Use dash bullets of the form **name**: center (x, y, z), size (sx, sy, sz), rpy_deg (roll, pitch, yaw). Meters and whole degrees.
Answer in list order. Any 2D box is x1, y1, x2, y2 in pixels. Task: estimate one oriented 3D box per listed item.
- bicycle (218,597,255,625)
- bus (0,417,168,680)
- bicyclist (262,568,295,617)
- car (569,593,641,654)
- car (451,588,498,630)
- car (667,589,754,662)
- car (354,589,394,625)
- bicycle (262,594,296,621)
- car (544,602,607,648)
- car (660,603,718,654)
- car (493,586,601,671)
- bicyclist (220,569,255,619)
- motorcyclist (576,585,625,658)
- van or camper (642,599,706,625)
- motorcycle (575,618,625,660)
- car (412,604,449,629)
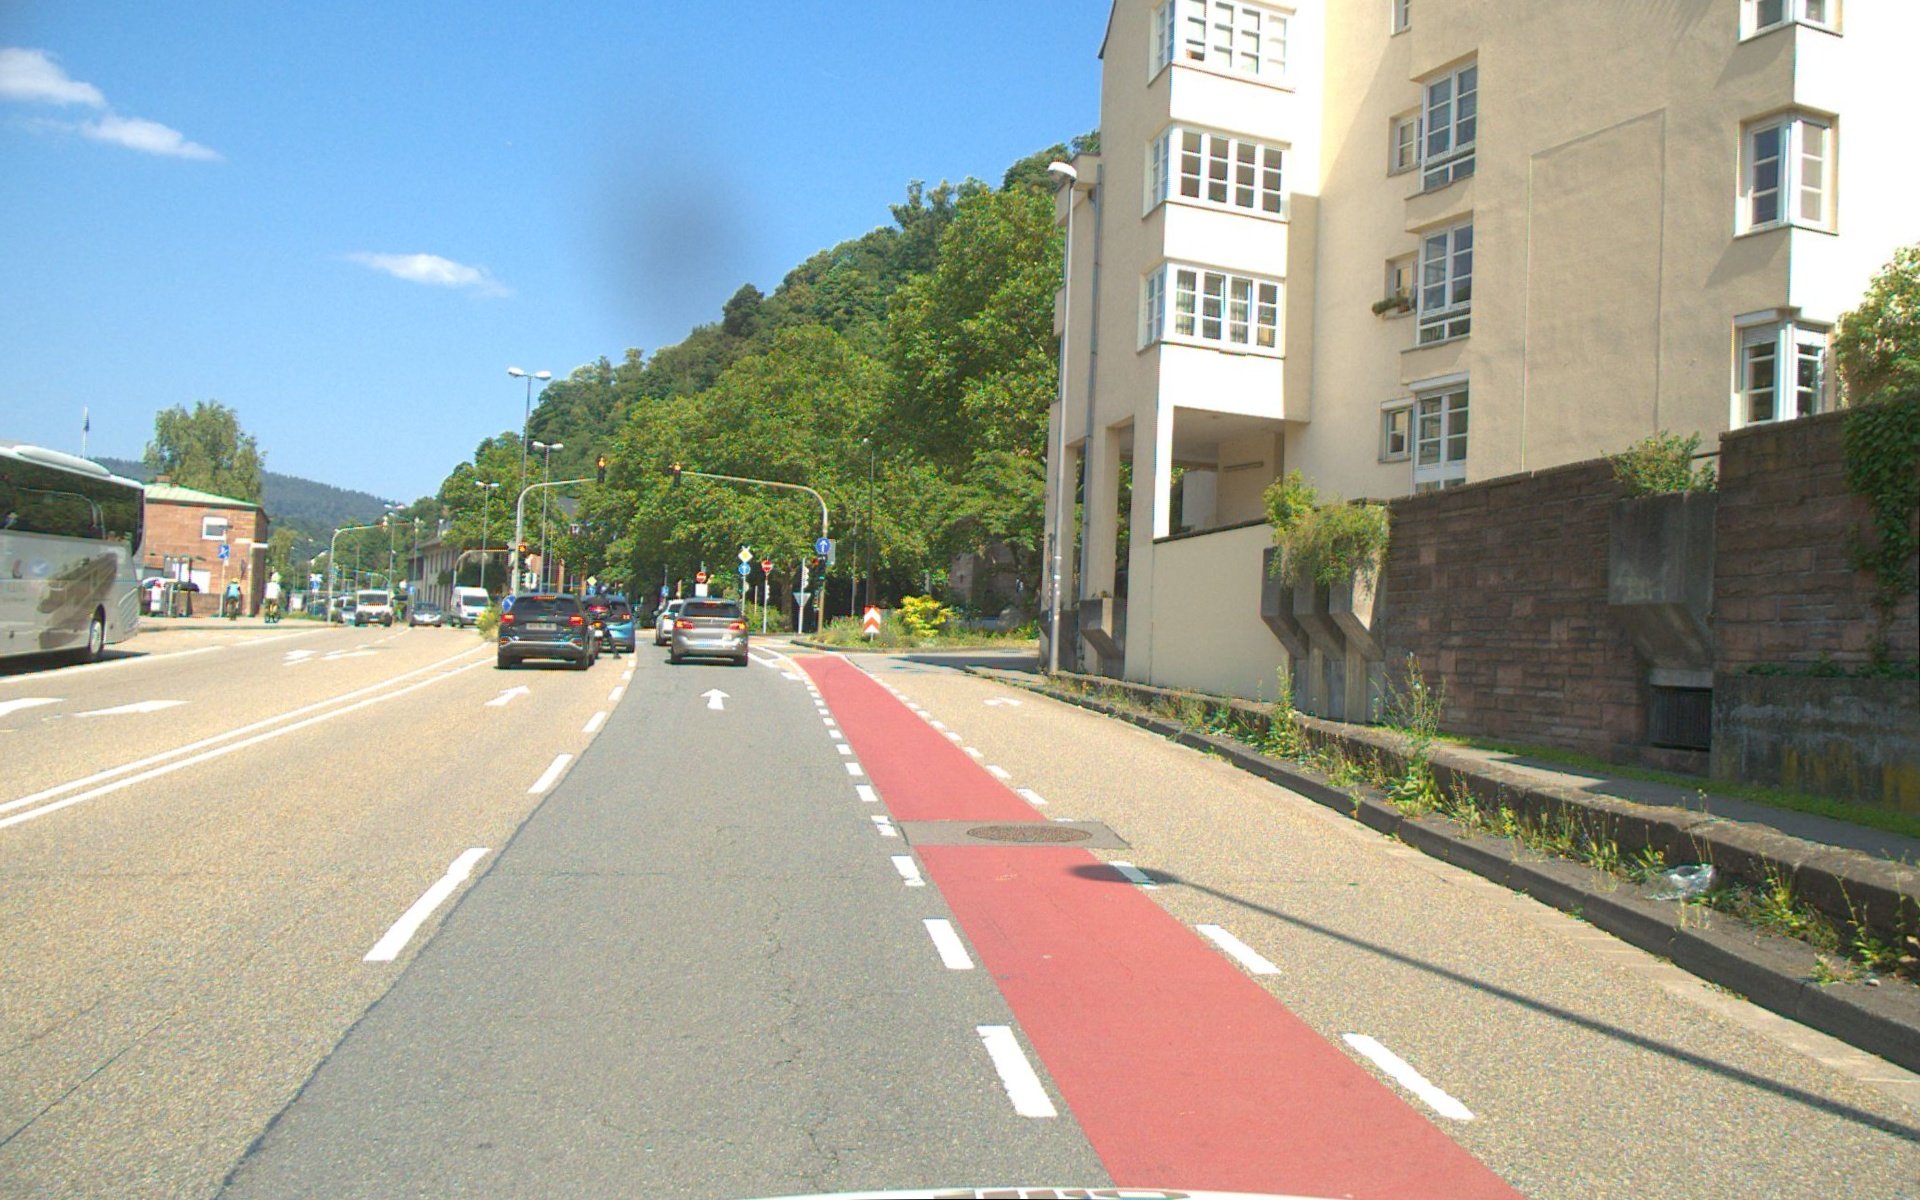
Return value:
- **bicycle**: center (-30.289, 0.444, 69.271), size (1.194, 1.109, 2.583), rpy_deg (1, 0, -20)
- **bus**: center (-16.425, -0.878, 27.487), size (2.907, 3.866, 13.195), rpy_deg (5, -1, -14)
- **bicyclist**: center (-29.200, -0.338, 70.894), size (1.194, 2.049, 1.112), rpy_deg (1, 0, -20)
- **car**: center (-9.943, 0.625, 46.494), size (1.833, 1.589, 3.989), rpy_deg (2, 0, -11)
- **car**: center (-31.766, 0.598, 108.119), size (2.350, 2.621, 6.014), rpy_deg (1, -1, -22)
- **car**: center (-5.946, 0.596, 39.437), size (1.853, 1.547, 4.296), rpy_deg (3, -1, -9)
- **car**: center (-36.475, 0.409, 103.035), size (2.181, 2.115, 5.016), rpy_deg (1, 0, -19)
- **bicycle**: center (-29.160, 0.308, 70.850), size (1.194, 1.109, 2.583), rpy_deg (1, 0, -20)
- **car**: center (-12.438, 0.783, 53.696), size (1.833, 1.382, 3.989), rpy_deg (2, 0, -11)
- **car**: center (-8.924, 0.923, 54.311), size (1.753, 1.559, 4.725), rpy_deg (1, -1, -10)
- **car**: center (-8.451, 0.569, 34.138), size (1.836, 1.540, 4.140), rpy_deg (3, -1, -11)
- **bicyclist**: center (-30.326, -0.242, 69.434), size (1.194, 2.049, 1.112), rpy_deg (1, -1, -20)
- **motorcyclist**: center (-8.659, 0.506, 39.910), size (1.056, 1.714, 1.153), rpy_deg (2, 0, -10)
- **van or camper**: center (-22.381, 0.907, 129.484), size (4.445, 1.935, 2.001), rpy_deg (1, -1, 7)
- **motorcycle**: center (-8.684, 0.932, 39.991), size (1.019, 0.935, 2.599), rpy_deg (2, 0, -9)
- **car**: center (-33.548, 1.006, 104.710), size (1.965, 1.457, 4.141), rpy_deg (1, 0, -21)
